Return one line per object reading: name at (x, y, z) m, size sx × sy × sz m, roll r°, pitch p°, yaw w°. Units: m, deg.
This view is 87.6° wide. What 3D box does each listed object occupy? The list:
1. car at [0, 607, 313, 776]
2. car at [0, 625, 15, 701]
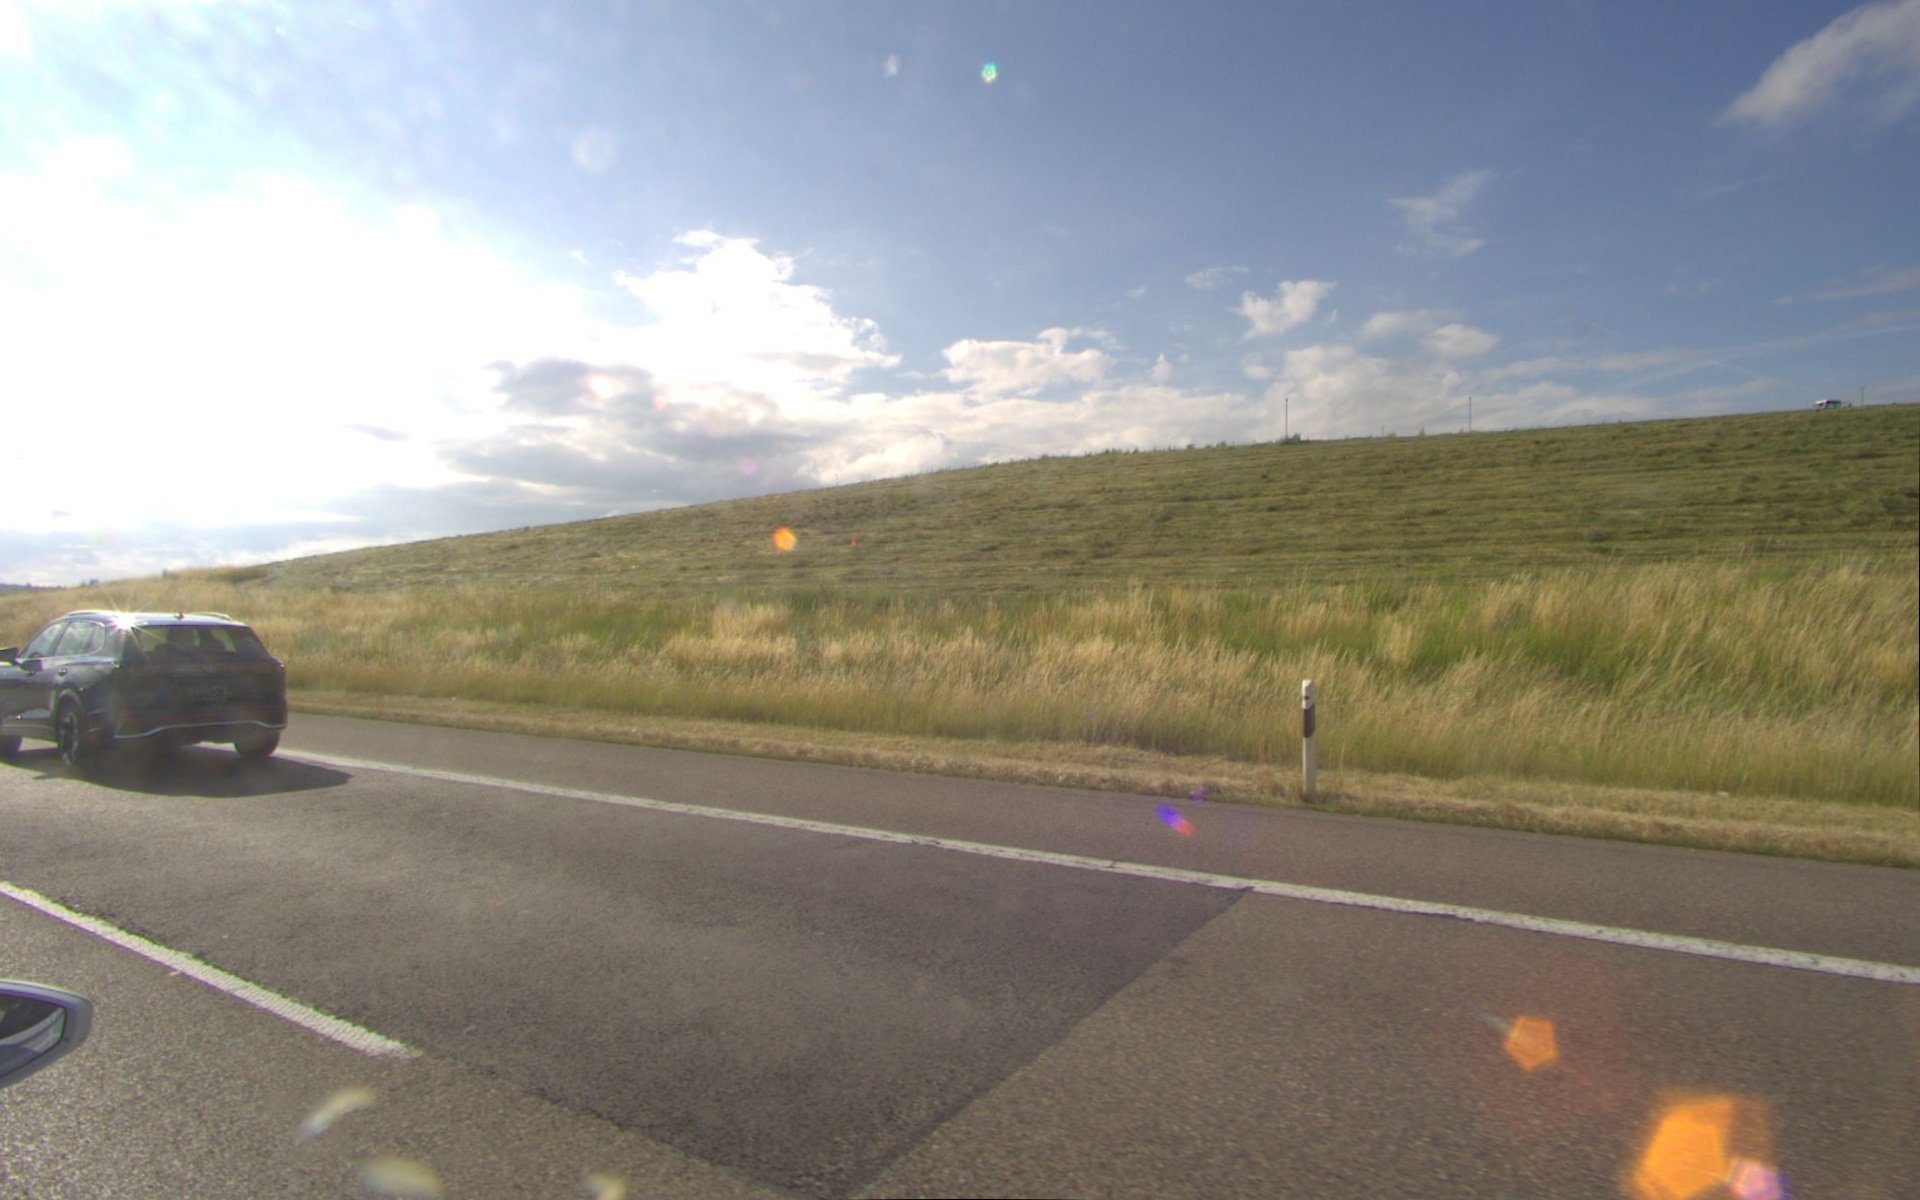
car at (-9.474, 0.961, 11.524) m, size 4.175 × 1.621 × 1.818 m, roll -1°, pitch -3°, yaw 32°
car at (-20.145, 1.225, 19.593) m, size 3.620 × 1.438 × 1.602 m, roll -1°, pitch -1°, yaw 33°
